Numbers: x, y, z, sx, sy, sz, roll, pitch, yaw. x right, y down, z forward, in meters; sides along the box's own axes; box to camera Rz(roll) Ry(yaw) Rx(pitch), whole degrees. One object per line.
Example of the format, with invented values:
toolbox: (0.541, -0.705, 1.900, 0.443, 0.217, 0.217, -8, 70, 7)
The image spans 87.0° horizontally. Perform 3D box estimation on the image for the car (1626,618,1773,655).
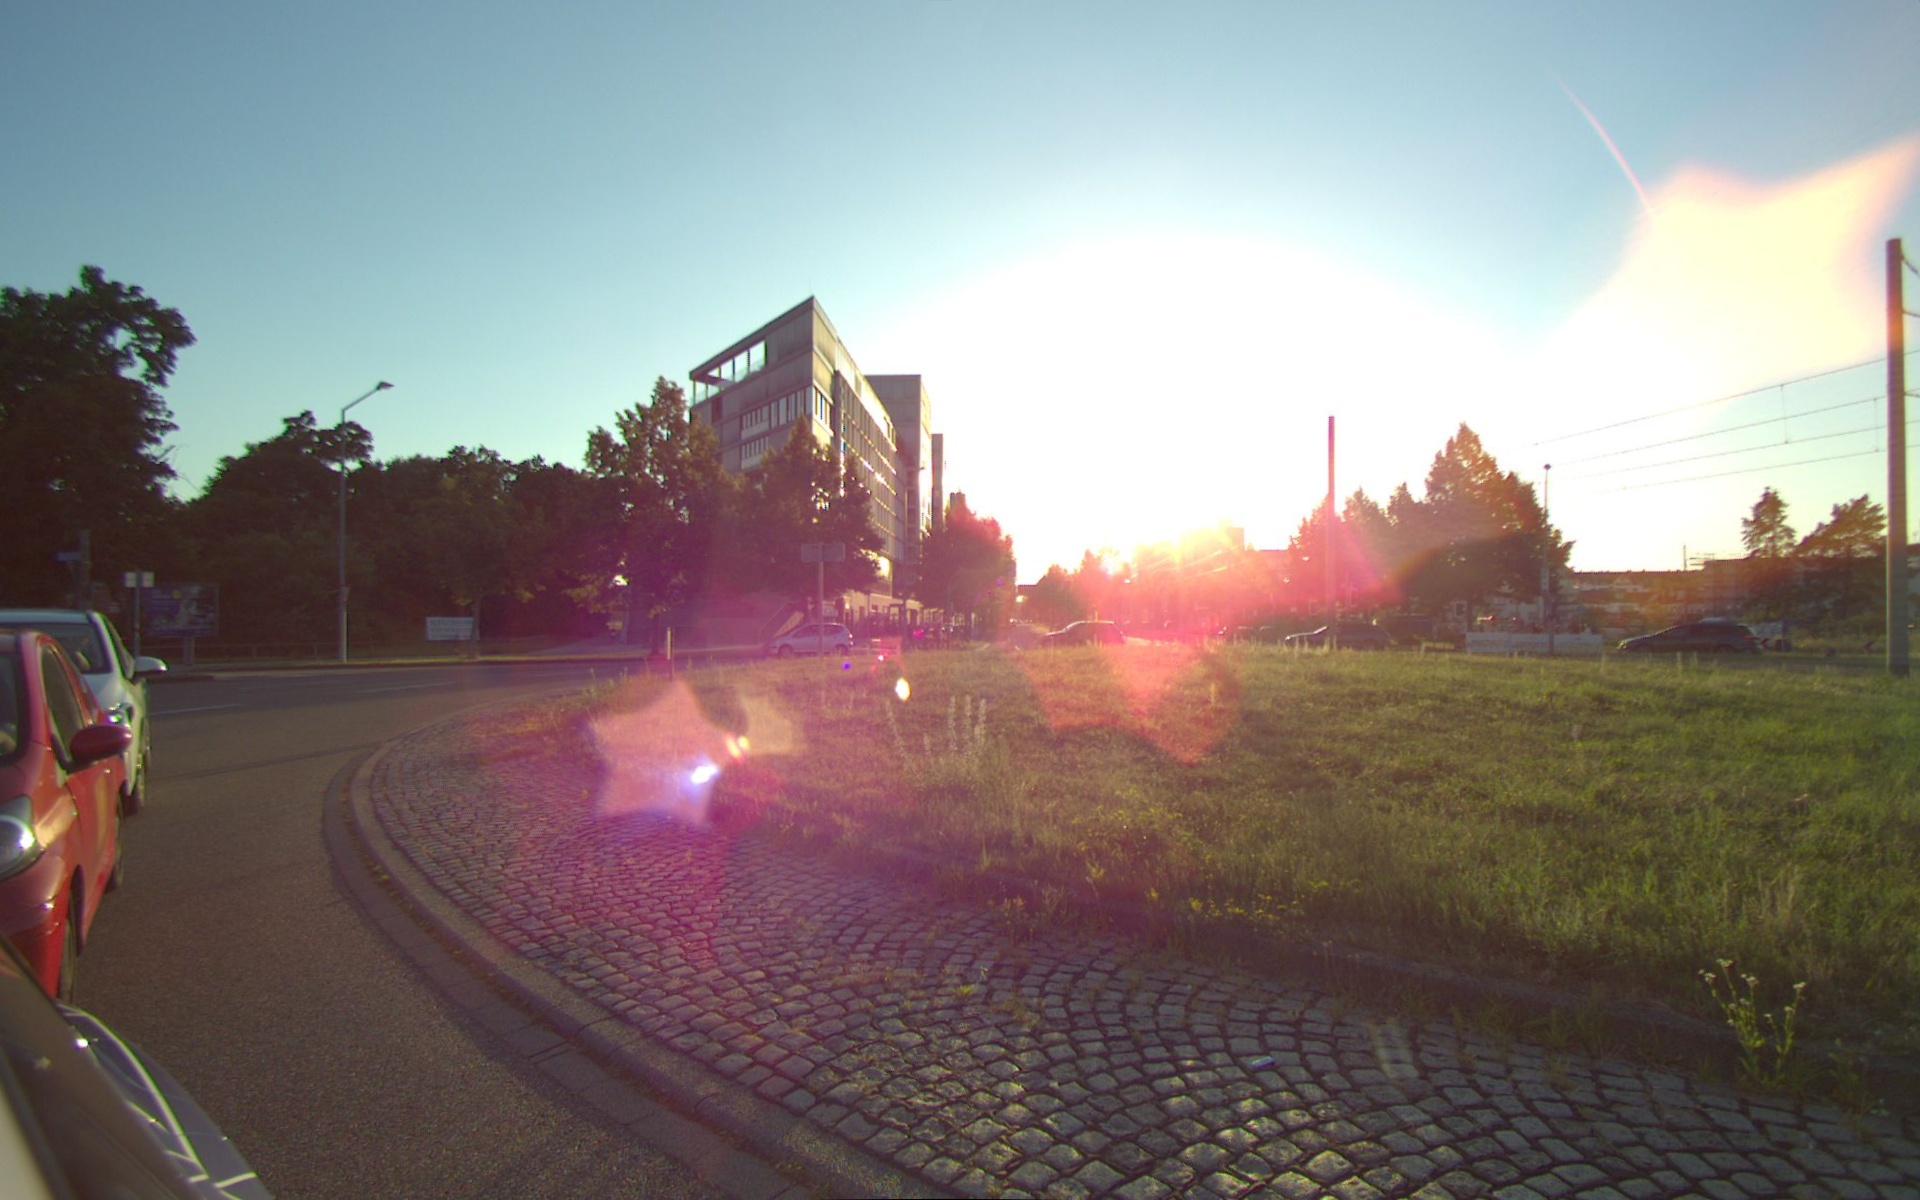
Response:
car: (28.996, 1.404, 39.751, 1.970, 1.386, 4.387, 1, -2, -44)

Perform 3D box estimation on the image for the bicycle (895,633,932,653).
bicycle: (-2.886, 2.676, 62.960, 2.315, 1.254, 0.742, 0, -1, 0)

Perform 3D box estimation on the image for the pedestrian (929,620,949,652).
pedestrian: (-1.344, 2.306, 64.619, 0.995, 2.029, 0.768, -1, 0, 29)

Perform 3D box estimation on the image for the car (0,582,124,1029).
car: (-4.806, 0.687, 4.426, 1.662, 1.431, 4.008, 1, -1, -38)

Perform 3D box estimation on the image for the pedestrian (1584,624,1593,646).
pedestrian: (37.907, 2.118, 61.027, 0.397, 1.317, 0.423, -1, -1, 41)

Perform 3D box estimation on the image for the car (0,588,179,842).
car: (-7.611, 0.771, 7.933, 1.970, 1.618, 4.202, 1, -2, -43)

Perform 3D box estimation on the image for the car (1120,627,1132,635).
car: (31.667, 5.863, 193.683, 1.975, 1.539, 4.338, 0, -1, 6)

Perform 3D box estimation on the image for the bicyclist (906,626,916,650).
bicyclist: (-3.067, 2.352, 62.981, 0.602, 1.451, 0.692, 0, -1, -2)

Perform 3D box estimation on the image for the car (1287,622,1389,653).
car: (17.450, 1.712, 46.912, 4.317, 1.386, 1.988, -1, -1, 19)

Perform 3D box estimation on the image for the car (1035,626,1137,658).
car: (5.882, 1.938, 47.339, 4.308, 1.386, 2.006, 0, -1, -20)

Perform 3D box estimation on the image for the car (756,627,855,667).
car: (-6.571, 1.957, 42.965, 3.825, 1.592, 1.961, 0, -1, -22)

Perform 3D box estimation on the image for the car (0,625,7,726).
car: (-15.673, 1.100, 13.295, 1.977, 1.503, 4.300, 0, -1, 8)
